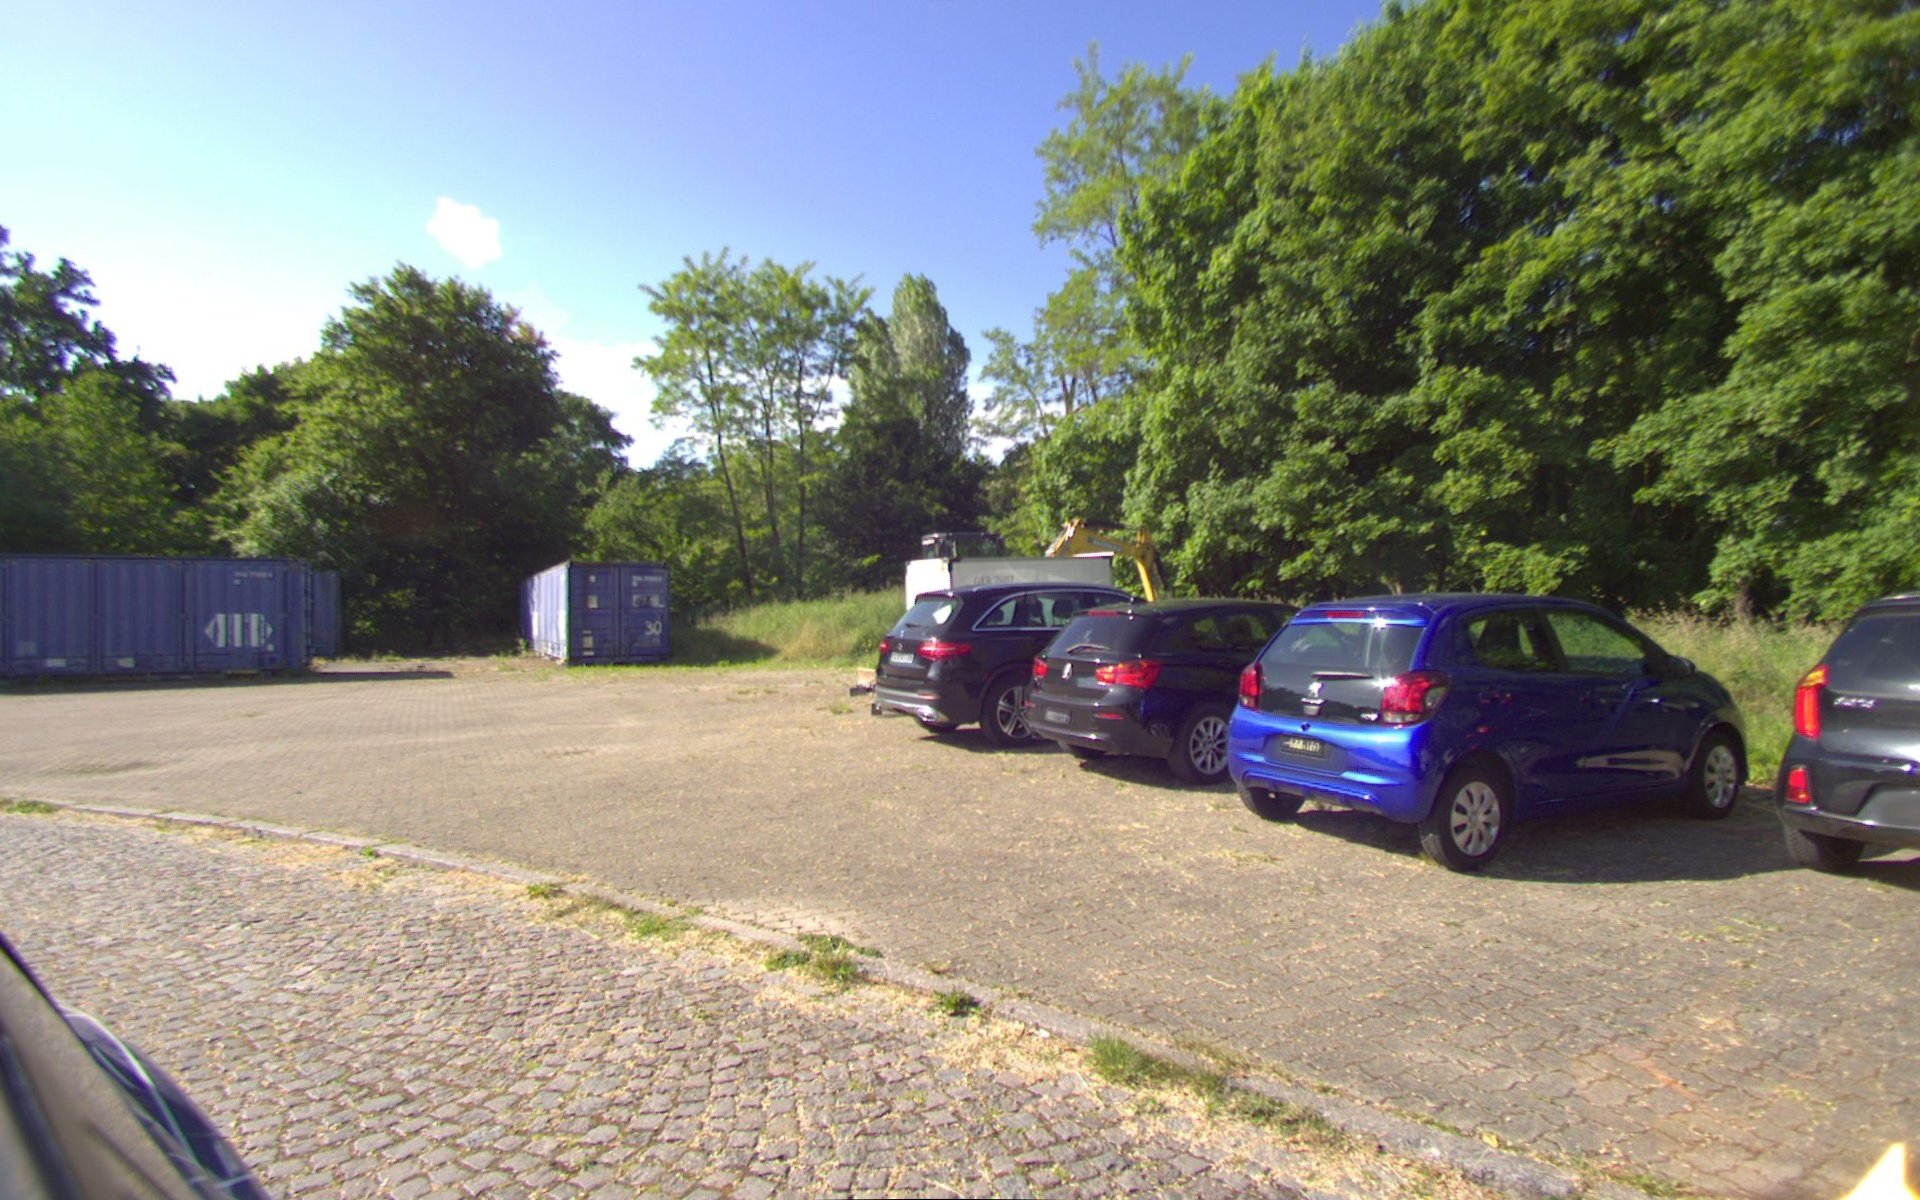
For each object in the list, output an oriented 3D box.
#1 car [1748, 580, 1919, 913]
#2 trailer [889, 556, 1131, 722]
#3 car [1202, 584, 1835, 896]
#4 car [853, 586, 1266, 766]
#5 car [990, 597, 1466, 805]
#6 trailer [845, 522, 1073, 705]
[{"bbox_3d":[5.982,0.603,4.936,3.660,1.462,1.750,-1,0,-22],"label":"car"},{"bbox_3d":[0.674,0.473,14.104,2.801,2.066,1.830,-1,0,-26],"label":"trailer"},{"bbox_3d":[3.644,0.679,6.586,3.724,1.469,1.791,-1,0,-27],"label":"car"},{"bbox_3d":[1.103,0.689,11.070,4.060,1.602,1.977,-1,0,-28],"label":"car"},{"bbox_3d":[2.366,0.727,8.905,3.724,1.422,1.901,-1,0,-28],"label":"car"},{"bbox_3d":[-0.066,0.162,16.201,2.801,2.557,2.273,-4,1,-26],"label":"trailer"}]
